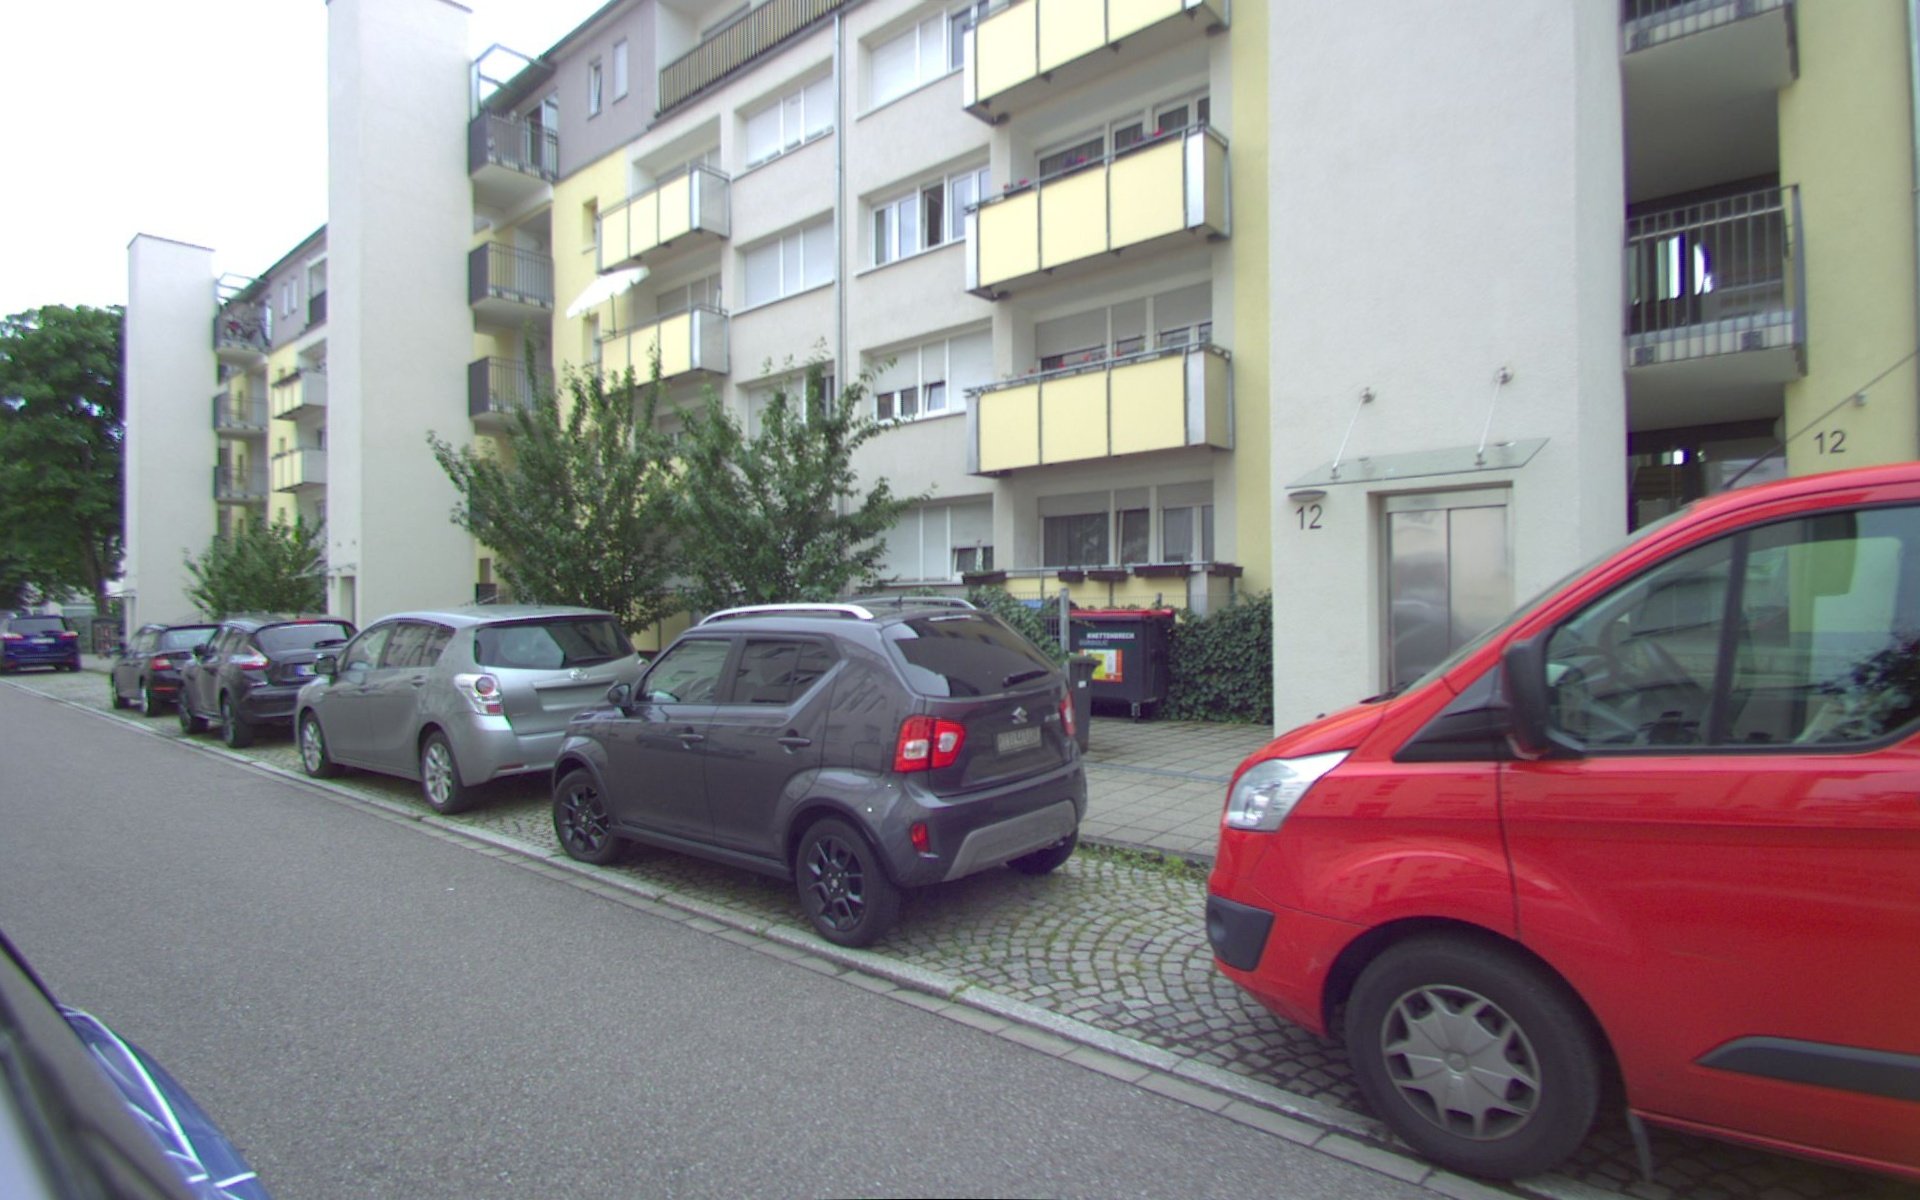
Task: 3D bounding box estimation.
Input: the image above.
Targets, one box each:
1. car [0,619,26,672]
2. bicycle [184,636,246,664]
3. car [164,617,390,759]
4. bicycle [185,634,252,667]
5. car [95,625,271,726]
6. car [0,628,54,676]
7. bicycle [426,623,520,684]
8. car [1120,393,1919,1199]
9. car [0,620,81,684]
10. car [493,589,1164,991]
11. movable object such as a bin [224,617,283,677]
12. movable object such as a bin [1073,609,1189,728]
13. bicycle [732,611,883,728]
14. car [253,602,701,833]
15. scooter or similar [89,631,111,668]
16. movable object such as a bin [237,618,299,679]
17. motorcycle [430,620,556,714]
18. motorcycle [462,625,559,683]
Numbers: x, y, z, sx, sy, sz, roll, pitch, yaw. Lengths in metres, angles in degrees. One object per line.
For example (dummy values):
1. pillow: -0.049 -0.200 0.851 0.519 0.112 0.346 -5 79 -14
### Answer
1. car: -36.055 1.674 37.296 4.782 1.869 1.867 -2 -2 40
2. bicycle: -28.498 1.904 38.737 1.829 1.028 0.671 1 -2 -42
3. car: -9.104 1.041 13.369 3.895 1.542 1.635 -2 0 43
4. bicycle: -27.041 1.830 36.923 0.716 1.146 1.834 -2 -2 38
5. car: -13.234 1.187 17.162 3.855 1.449 1.626 -2 0 41
6. car: -31.179 1.692 33.137 3.813 1.456 1.605 -2 0 38
7. bicycle: -10.296 1.110 21.447 0.608 1.234 1.707 -2 -2 36
8. car: 3.128 0.506 2.654 4.916 1.968 2.130 -2 0 39
9. car: -26.874 1.458 29.122 4.470 1.639 1.781 -2 0 41
10. car: -1.015 0.799 6.056 4.052 1.582 1.703 -2 0 41
11. movable object such as a bin: -18.424 1.206 26.388 1.314 1.512 0.991 -1 -1 42
12. movable object such as a bin: 2.022 0.779 11.966 1.036 1.334 0.883 -2 -2 40
13. bicycle: -1.685 0.732 11.078 1.723 1.201 0.547 -1 -2 34
14. car: -4.664 0.884 9.387 4.856 1.582 1.817 -2 0 39
15. scooter or similar: -30.410 1.742 35.781 1.135 1.253 0.432 -2 -2 41
16. movable object such as a bin: -17.371 1.188 25.412 1.314 1.458 0.991 -1 -1 42
17. motorcycle: -7.292 1.005 15.743 2.419 1.316 0.860 -2 0 42
18. motorcycle: -9.199 1.087 20.767 0.593 1.138 1.732 -2 -3 37
